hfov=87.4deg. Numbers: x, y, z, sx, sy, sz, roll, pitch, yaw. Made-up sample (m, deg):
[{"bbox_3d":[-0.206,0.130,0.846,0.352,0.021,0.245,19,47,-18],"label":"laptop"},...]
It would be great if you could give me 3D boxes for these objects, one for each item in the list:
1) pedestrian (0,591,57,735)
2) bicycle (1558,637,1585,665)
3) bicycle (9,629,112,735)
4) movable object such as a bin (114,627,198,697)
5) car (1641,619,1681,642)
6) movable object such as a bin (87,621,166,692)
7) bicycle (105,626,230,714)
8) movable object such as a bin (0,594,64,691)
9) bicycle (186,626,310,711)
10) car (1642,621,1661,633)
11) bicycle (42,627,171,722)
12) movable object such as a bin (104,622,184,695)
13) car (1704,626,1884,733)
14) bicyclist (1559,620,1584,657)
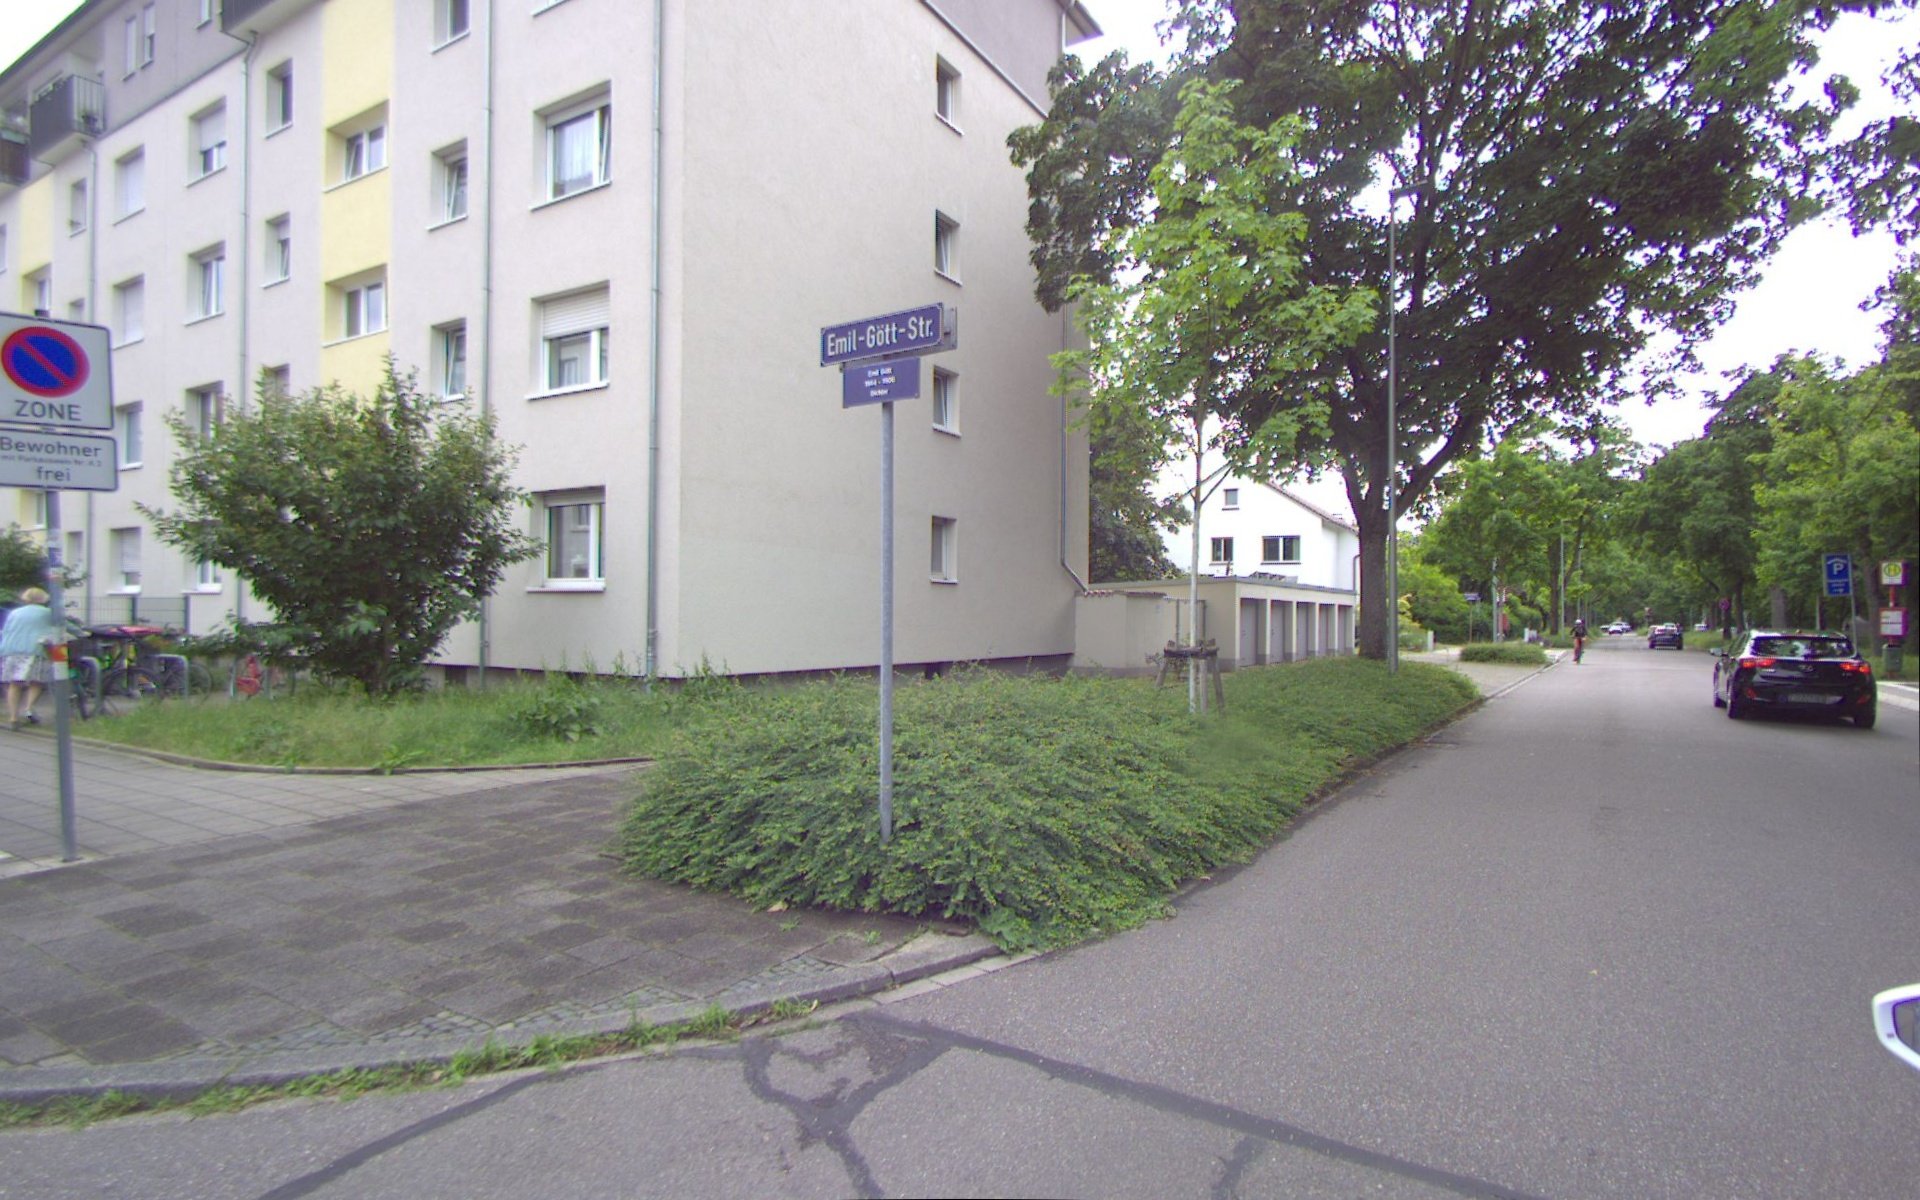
[{"bbox_3d":[-10.552,0.698,11.317,0.558,1.570,0.446,-1,-1,37],"label":"pedestrian"},{"bbox_3d":[24.695,2.052,40.552,0.784,1.039,2.556,-1,-1,34],"label":"bicycle"},{"bbox_3d":[-10.304,0.896,11.485,1.789,1.134,0.536,-1,-1,37],"label":"bicycle"},{"bbox_3d":[-12.752,0.970,15.944,0.622,1.065,0.865,0,-1,31],"label":"movable object such as a bin"},{"bbox_3d":[46.528,1.988,66.761,1.837,1.482,4.108,0,-1,31],"label":"car"},{"bbox_3d":[-13.796,0.919,16.635,0.587,1.131,0.843,0,-1,30],"label":"movable object such as a bin"},{"bbox_3d":[-10.571,0.899,13.375,2.138,1.085,0.658,-1,-1,33],"label":"bicycle"},{"bbox_3d":[-14.988,0.642,15.296,1.642,1.440,1.591,0,-1,31],"label":"movable object such as a bin"},{"bbox_3d":[-9.881,0.915,13.907,2.138,1.085,0.658,-1,-1,33],"label":"bicycle"},{"bbox_3d":[93.175,3.640,135.404,1.966,1.505,3.989,-1,-2,34],"label":"car"},{"bbox_3d":[-10.655,0.890,12.522,2.086,1.082,0.657,-1,-1,33],"label":"bicycle"},{"bbox_3d":[-13.233,0.932,16.304,0.587,1.131,0.843,0,-1,30],"label":"movable object such as a bin"},{"bbox_3d":[13.670,1.205,16.699,1.820,1.482,3.817,1,0,33],"label":"car"},{"bbox_3d":[24.749,1.543,40.637,0.774,1.489,0.934,-1,-1,35],"label":"bicyclist"}]
